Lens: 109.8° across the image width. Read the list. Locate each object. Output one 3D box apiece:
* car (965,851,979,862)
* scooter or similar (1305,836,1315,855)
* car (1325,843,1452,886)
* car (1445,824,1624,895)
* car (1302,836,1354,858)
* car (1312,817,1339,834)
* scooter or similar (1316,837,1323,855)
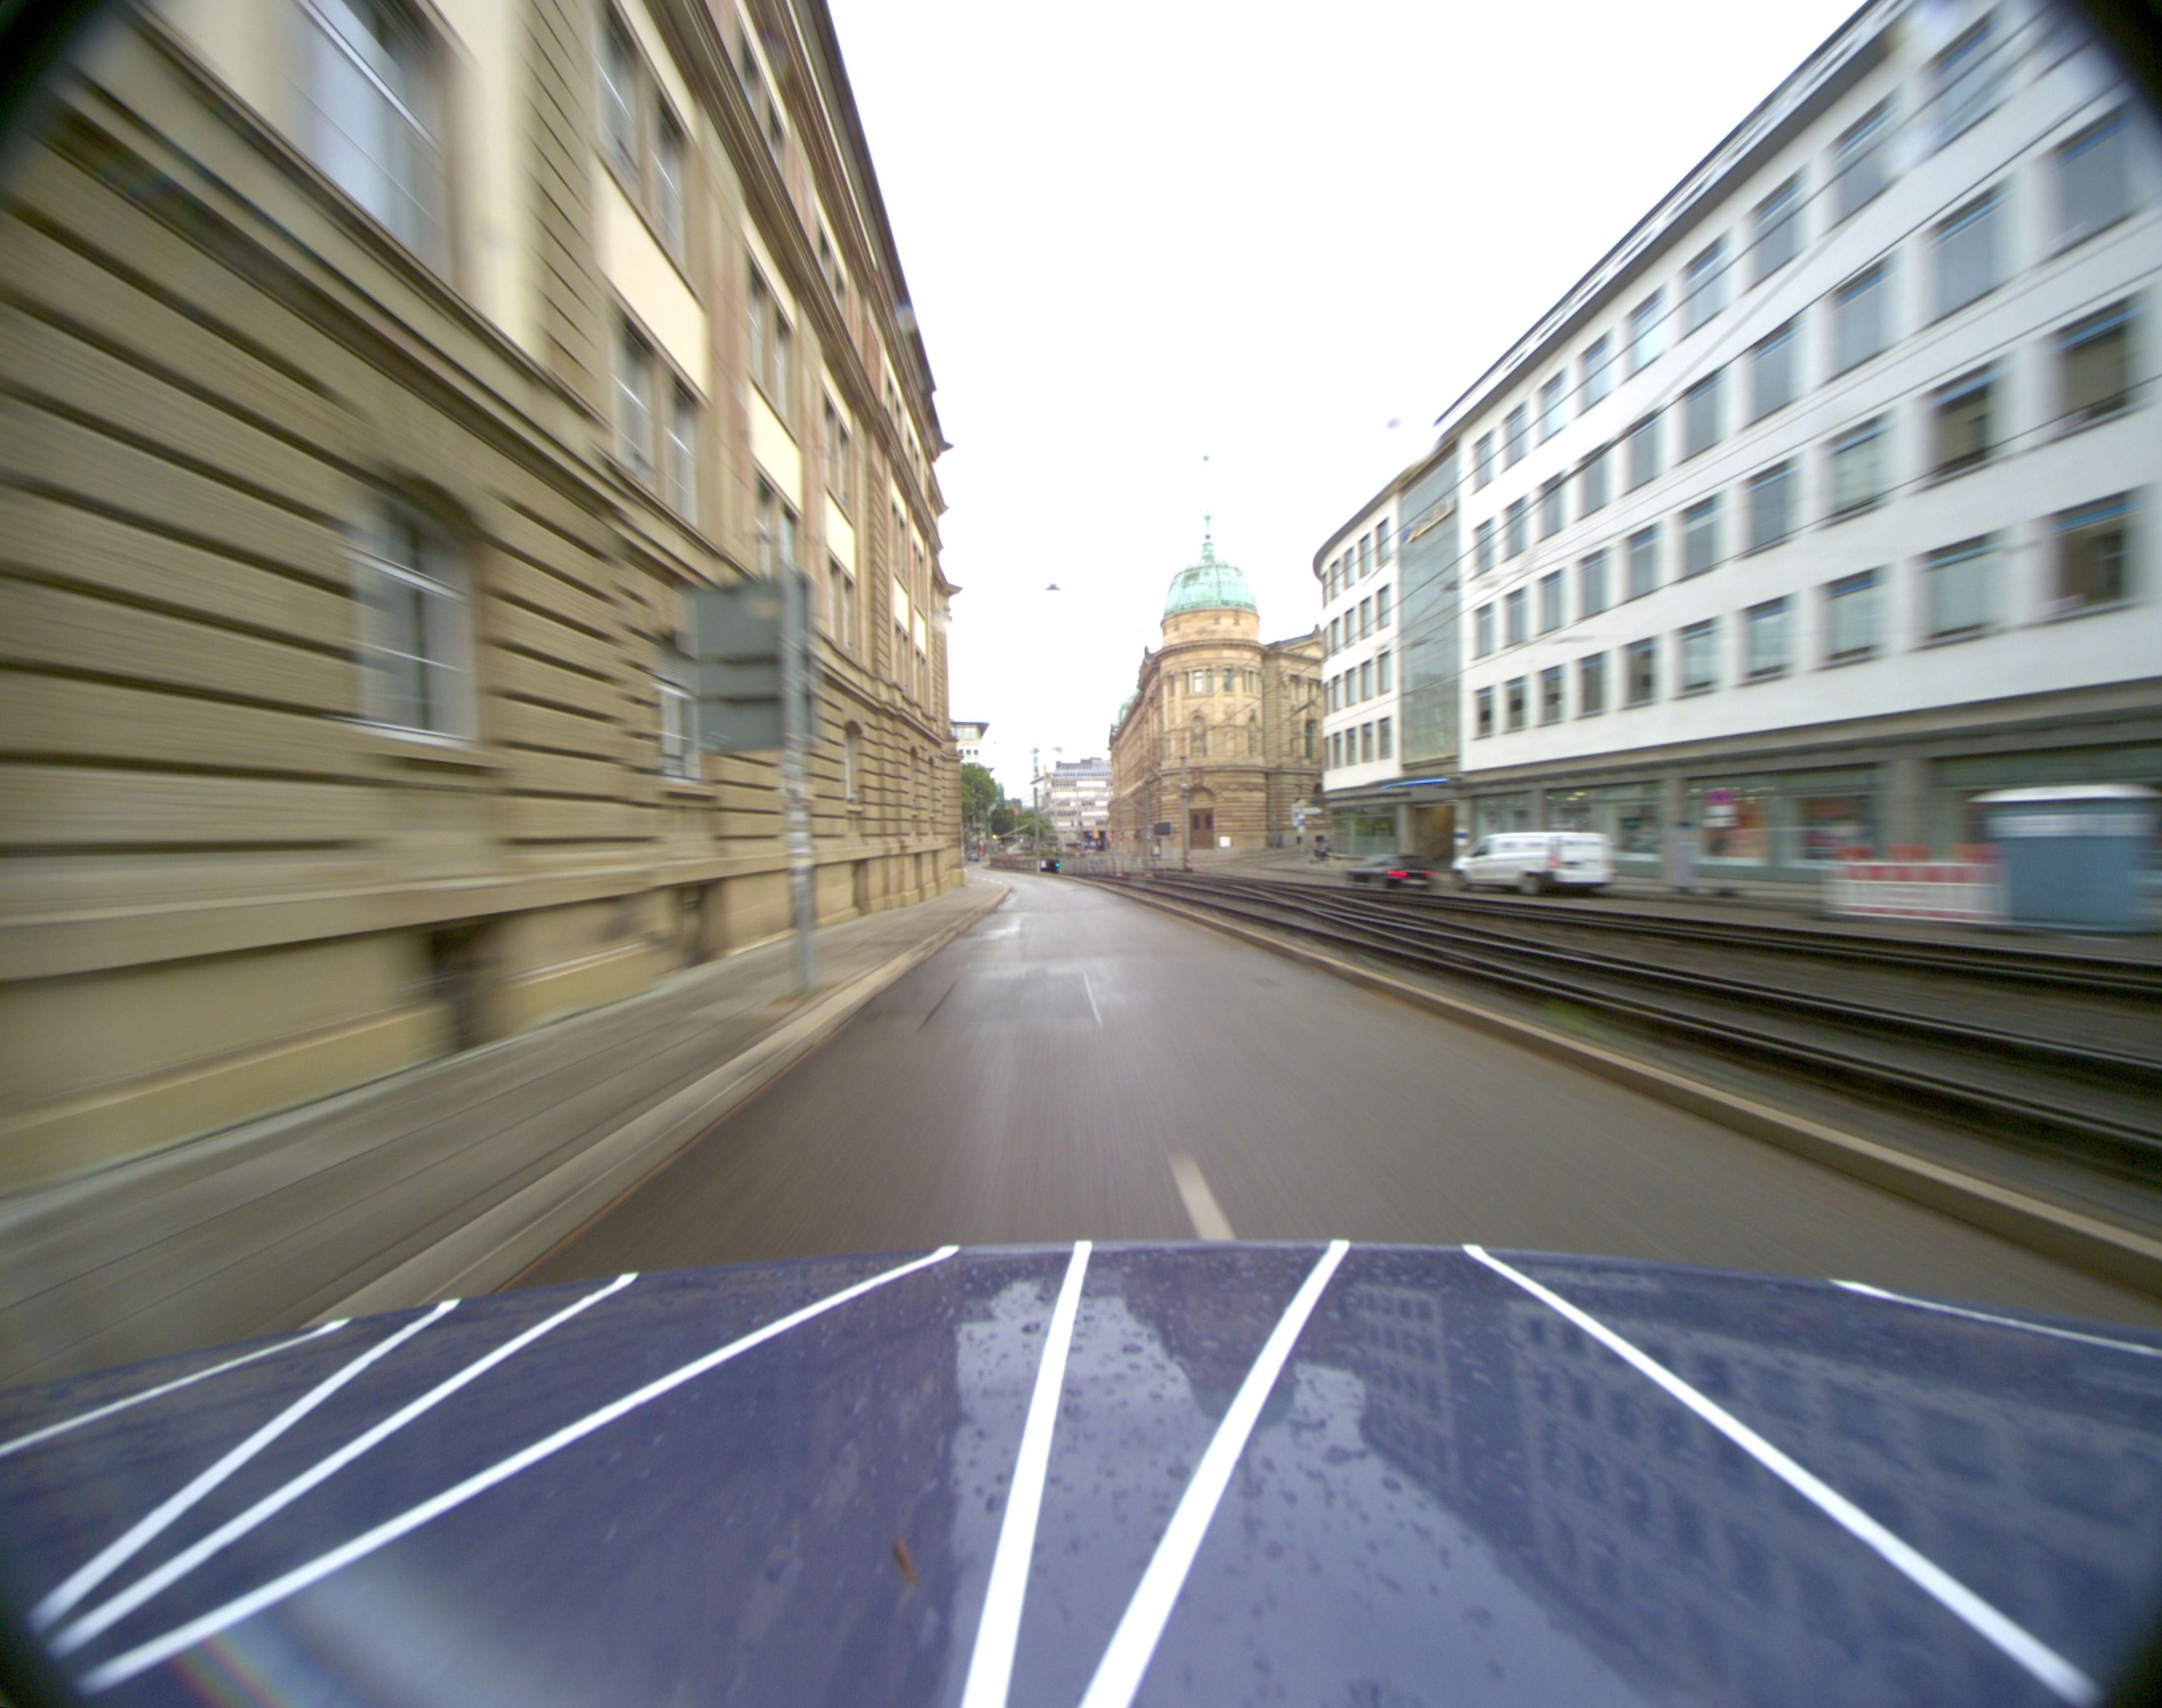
[{"bbox_3d":[-20.039,0.455,139.589,2.001,1.806,3.994,-3,2,-13],"label":"car"},{"bbox_3d":[15.494,-0.582,51.388,0.410,1.194,1.561,-2,2,11],"label":"scooter or similar"},{"bbox_3d":[10.216,0.283,25.699,2.000,1.248,4.691,-1,1,-7],"label":"car"},{"bbox_3d":[13.648,0.086,23.339,2.000,1.832,5.127,-3,2,-7],"label":"car"},{"bbox_3d":[18.221,-0.508,55.880,4.334,1.390,1.780,-4,2,-44],"label":"car"},{"bbox_3d":[24.903,-2.877,77.592,1.997,1.631,4.001,-3,2,10],"label":"car"},{"bbox_3d":[16.059,-0.556,51.144,0.410,1.194,1.561,-2,2,18],"label":"scooter or similar"}]
